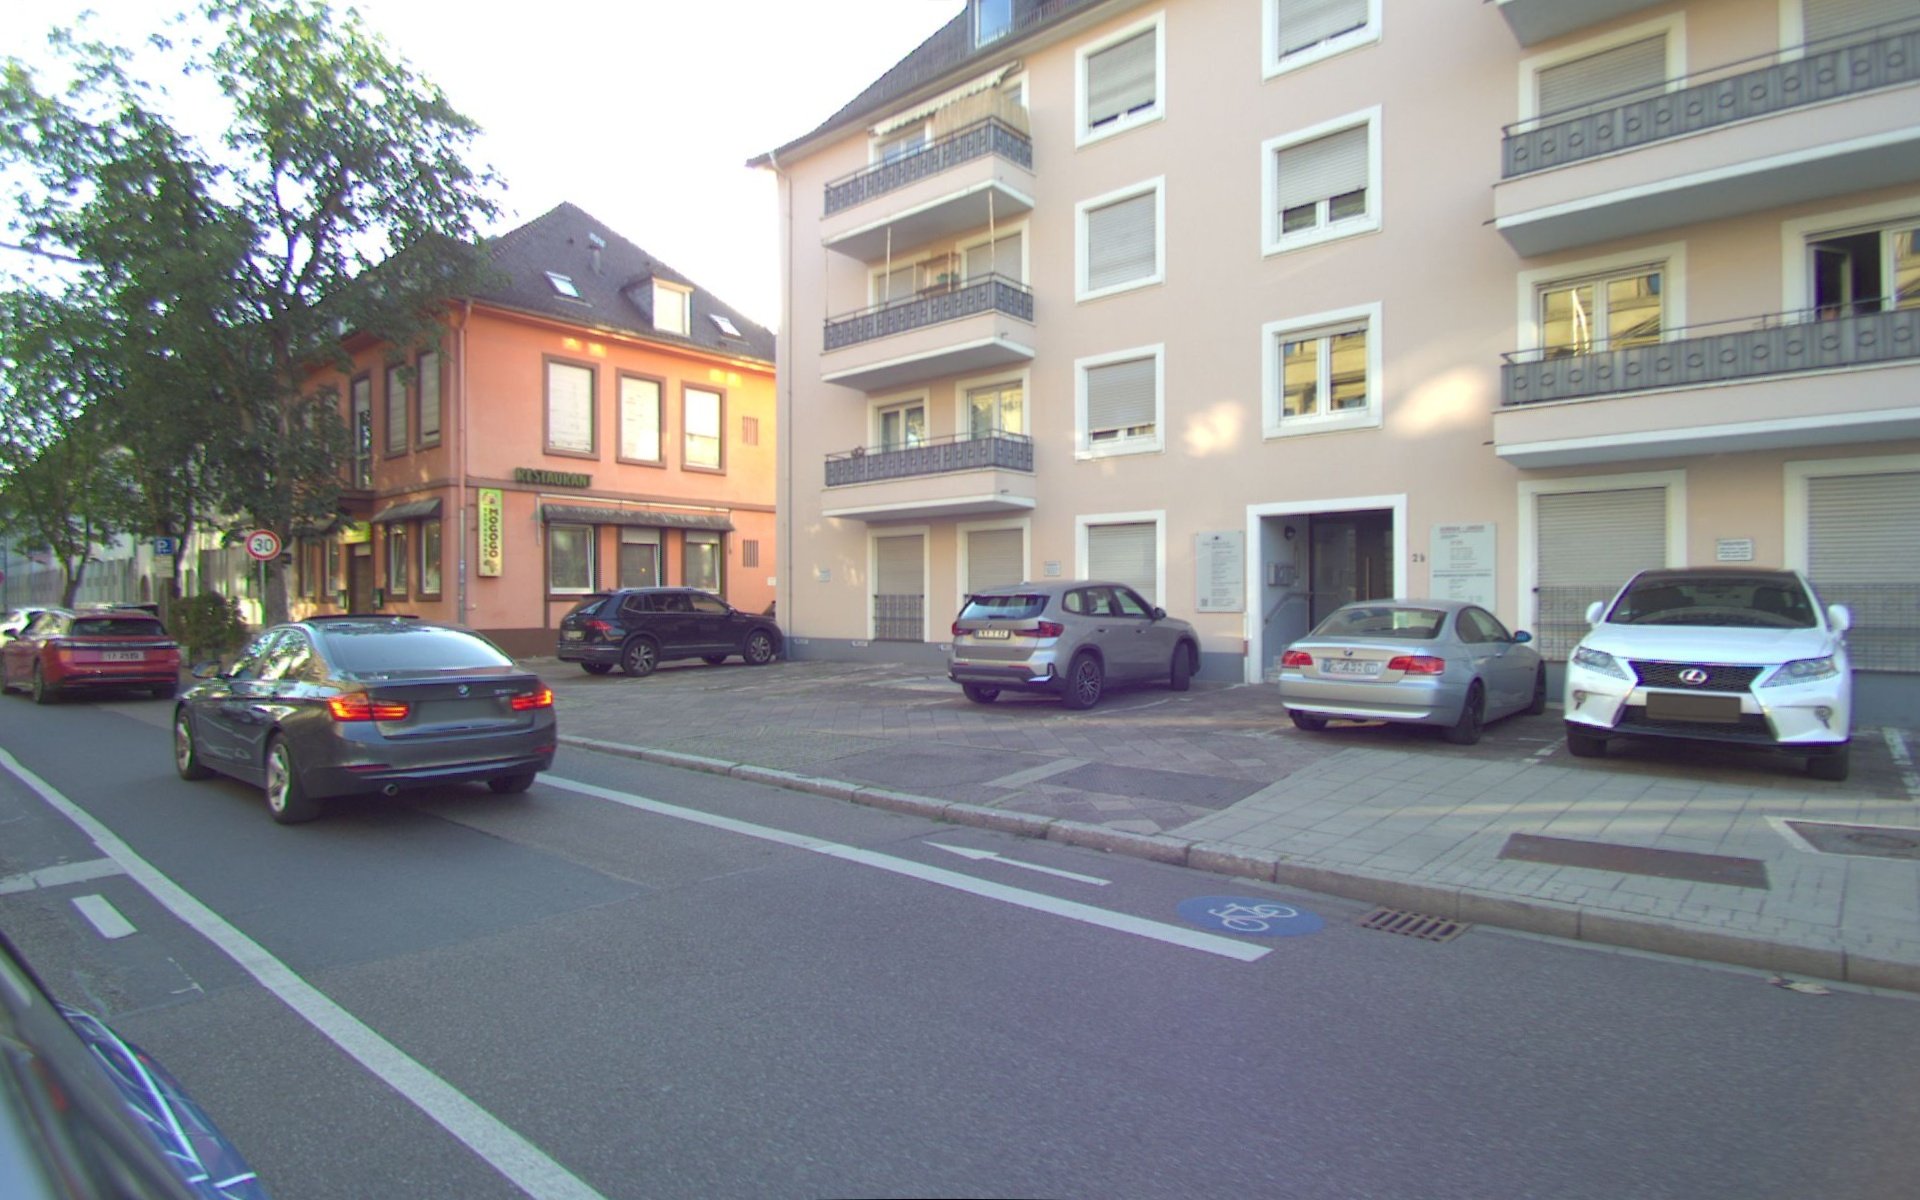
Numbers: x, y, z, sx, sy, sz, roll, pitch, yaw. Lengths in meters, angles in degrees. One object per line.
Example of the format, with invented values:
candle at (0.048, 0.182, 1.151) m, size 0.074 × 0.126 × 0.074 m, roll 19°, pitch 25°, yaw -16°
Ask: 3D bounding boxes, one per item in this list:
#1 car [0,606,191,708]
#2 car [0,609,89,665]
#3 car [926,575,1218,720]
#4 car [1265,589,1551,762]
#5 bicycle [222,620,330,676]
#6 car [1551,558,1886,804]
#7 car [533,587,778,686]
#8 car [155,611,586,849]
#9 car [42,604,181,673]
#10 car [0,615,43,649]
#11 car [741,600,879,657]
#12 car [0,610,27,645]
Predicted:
car at (-15.277, 0.929, 17.579) m, size 4.839 × 1.557 × 1.814 m, roll -1°, pitch -2°, yaw 37°
car at (-31.990, 1.228, 34.877) m, size 4.645 × 1.680 × 1.813 m, roll -1°, pitch 3°, yaw 35°
car at (1.697, 0.519, 13.958) m, size 1.914 × 1.617 × 4.375 m, roll -1°, pitch 1°, yaw 39°
car at (4.980, 0.647, 10.902) m, size 1.734 × 1.391 × 4.224 m, roll -1°, pitch 1°, yaw 39°
bicycle at (-14.765, 1.007, 21.880) m, size 0.609 × 1.112 × 1.851 m, roll -1°, pitch 0°, yaw 34°
car at (6.859, 0.493, 9.137) m, size 1.940 × 1.653 × 4.396 m, roll -1°, pitch 1°, yaw 39°
car at (-5.939, 0.637, 20.198) m, size 1.862 × 1.678 × 4.375 m, roll -1°, pitch 1°, yaw 39°
car at (-5.081, 0.841, 8.439) m, size 4.421 × 1.470 × 1.764 m, roll 0°, pitch -1°, yaw 41°
car at (-25.142, 1.091, 29.928) m, size 5.037 × 1.772 × 1.813 m, roll -1°, pitch 3°, yaw 35°
car at (-45.888, 1.508, 47.446) m, size 1.801 × 1.557 × 4.172 m, roll -1°, pitch -1°, yaw 43°
car at (-4.333, 0.784, 29.664) m, size 1.884 × 1.567 × 3.762 m, roll -1°, pitch -1°, yaw 38°
car at (-48.153, 1.345, 49.005) m, size 1.798 × 1.702 × 4.178 m, roll -1°, pitch -1°, yaw 38°
